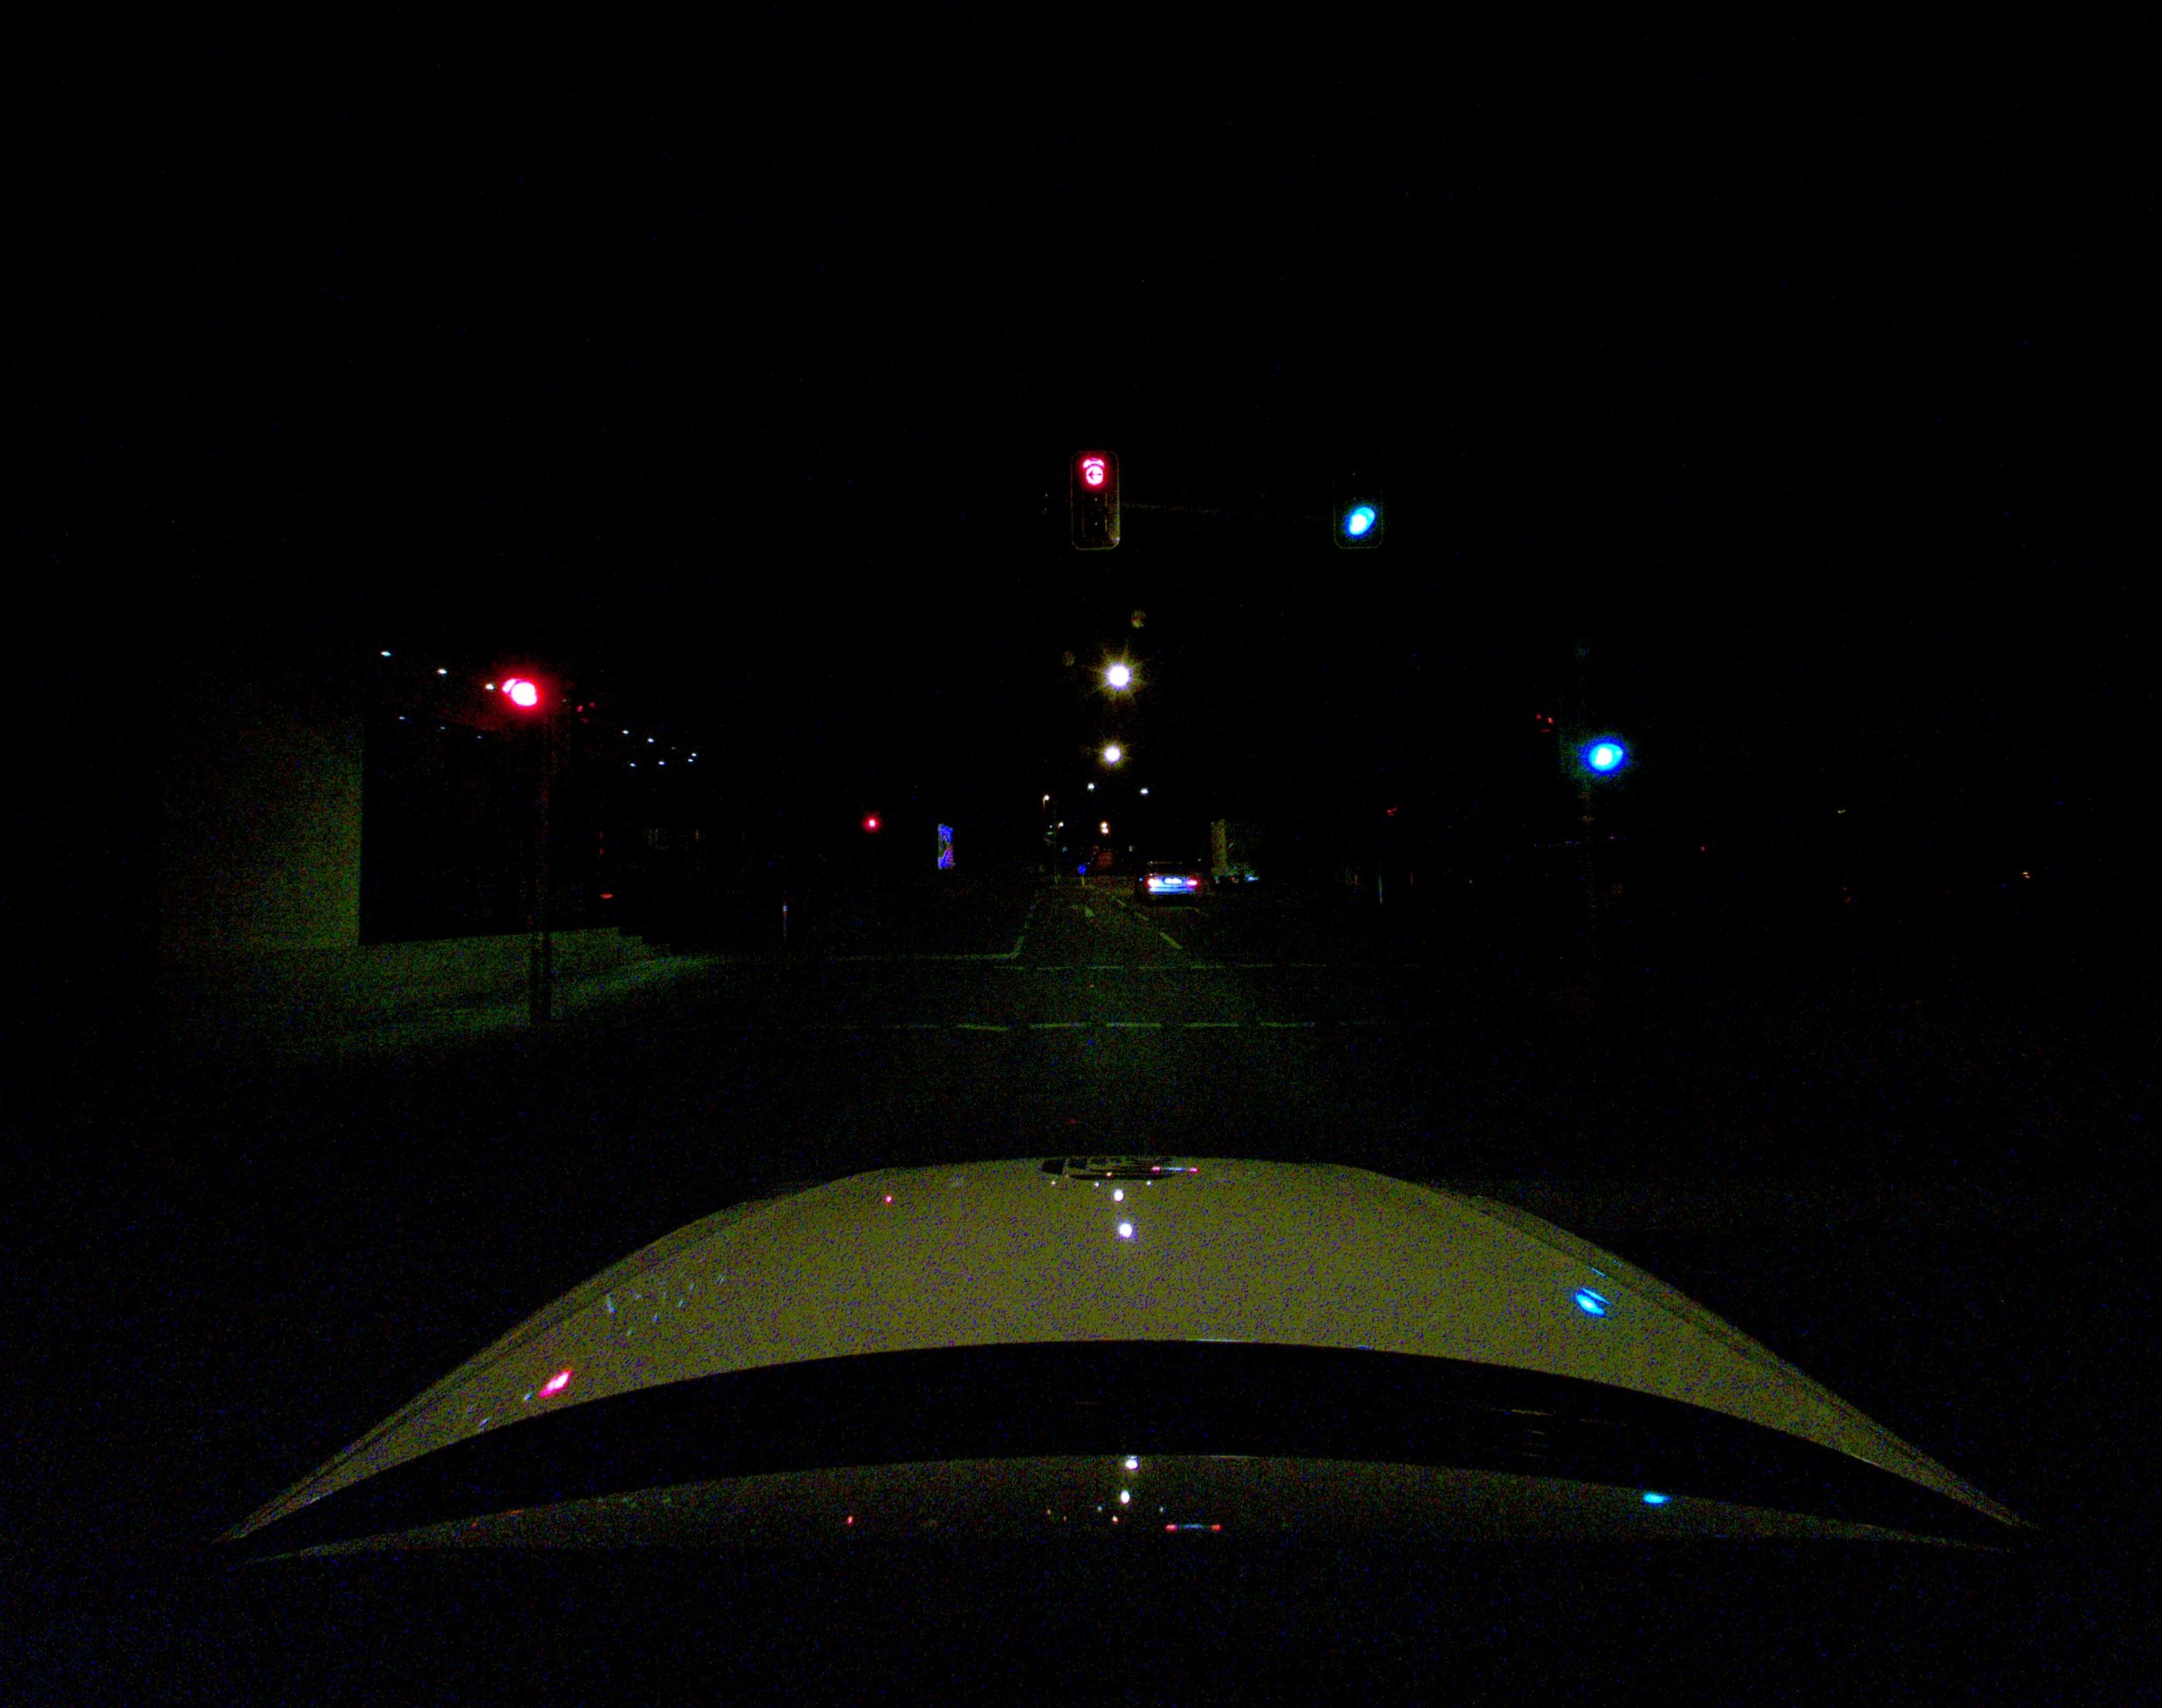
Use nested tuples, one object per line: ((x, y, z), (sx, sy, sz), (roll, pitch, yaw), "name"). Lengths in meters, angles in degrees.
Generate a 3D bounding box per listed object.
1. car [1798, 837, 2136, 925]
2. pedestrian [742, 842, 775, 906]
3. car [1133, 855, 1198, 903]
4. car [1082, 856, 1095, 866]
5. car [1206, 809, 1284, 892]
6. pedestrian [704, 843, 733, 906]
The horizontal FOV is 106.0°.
((17.456, 0.562, 16.286), (4.342, 1.560, 1.807), (-2, -3, 8), "car")
((-9.237, 0.563, 23.343), (0.568, 1.778, 0.737), (1, -1, 1), "pedestrian")
((2.778, 0.808, 27.628), (1.770, 1.486, 3.999), (0, -1, 0), "car")
((1.253, 1.156, 134.569), (1.901, 1.557, 3.906), (0, -1, 2), "car")
((6.761, -0.106, 34.217), (2.287, 3.093, 5.845), (-2, -1, 3), "car")
((-10.130, 0.560, 22.762), (0.568, 1.731, 0.544), (0, -1, 1), "pedestrian")
